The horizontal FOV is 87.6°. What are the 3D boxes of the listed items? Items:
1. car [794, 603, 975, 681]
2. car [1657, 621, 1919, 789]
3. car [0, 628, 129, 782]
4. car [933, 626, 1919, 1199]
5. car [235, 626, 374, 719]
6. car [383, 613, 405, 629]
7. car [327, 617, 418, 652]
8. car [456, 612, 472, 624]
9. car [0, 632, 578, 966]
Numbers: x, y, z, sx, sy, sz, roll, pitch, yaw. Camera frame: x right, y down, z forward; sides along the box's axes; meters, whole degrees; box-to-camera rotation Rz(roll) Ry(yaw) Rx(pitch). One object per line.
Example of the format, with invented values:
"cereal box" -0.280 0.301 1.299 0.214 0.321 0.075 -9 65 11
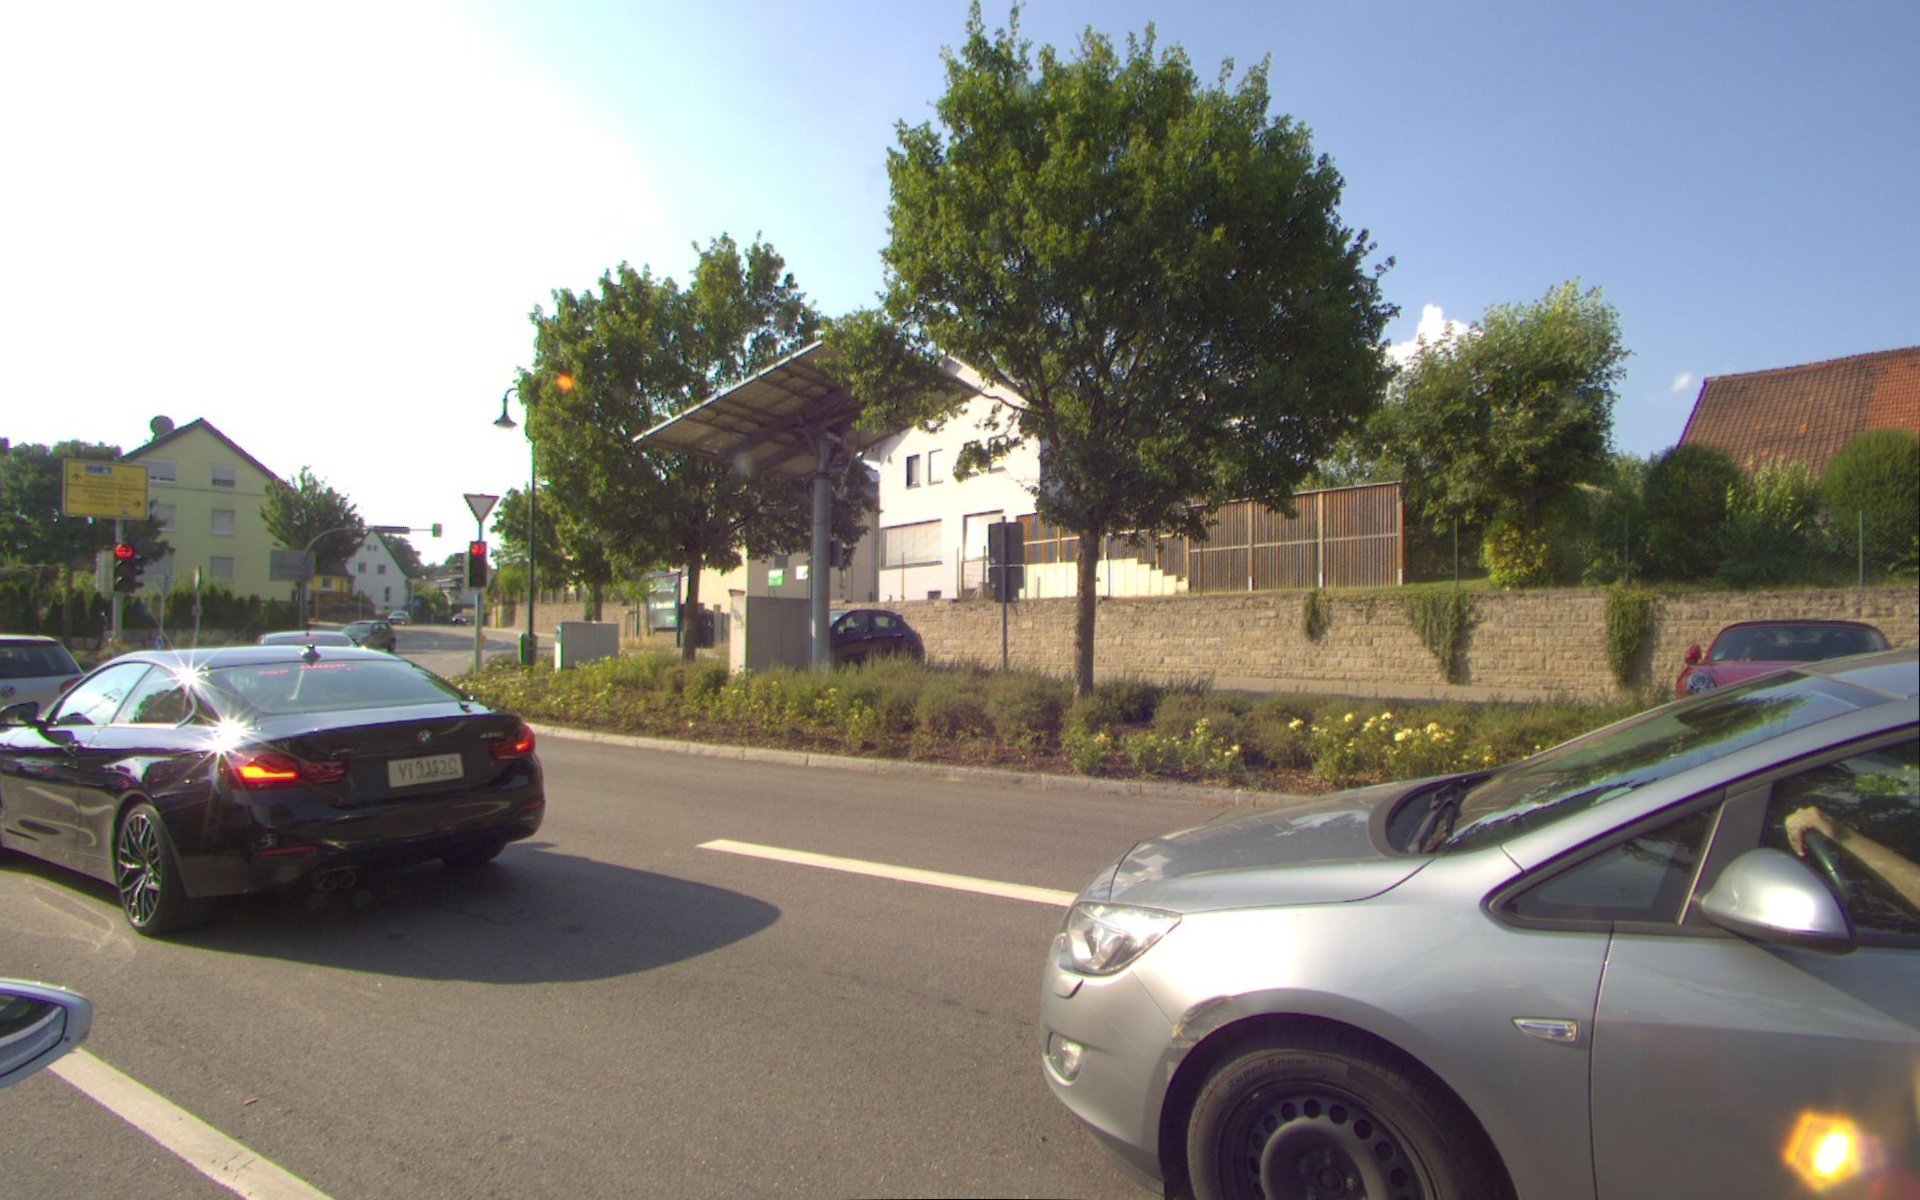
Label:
"car" -1.669 0.954 23.114 1.835 1.628 3.964 -1 -2 45
"car" 8.217 0.872 9.651 1.835 1.288 3.964 -1 -2 45
"car" -10.826 1.030 10.747 4.287 1.465 1.812 -1 -2 34
"car" 2.123 0.792 2.206 4.107 1.460 1.741 -1 -2 32
"car" -11.802 1.196 17.898 1.667 1.454 4.554 1 -2 -38
"car" -54.595 1.994 96.661 1.690 1.261 3.980 1 2 -27
"car" -28.242 1.615 48.301 1.757 1.527 4.068 0 0 5
"car" -70.825 2.570 143.093 1.753 1.600 3.989 1 -2 -22
"car" -4.480 0.911 6.231 4.287 1.406 1.812 -1 -2 34
